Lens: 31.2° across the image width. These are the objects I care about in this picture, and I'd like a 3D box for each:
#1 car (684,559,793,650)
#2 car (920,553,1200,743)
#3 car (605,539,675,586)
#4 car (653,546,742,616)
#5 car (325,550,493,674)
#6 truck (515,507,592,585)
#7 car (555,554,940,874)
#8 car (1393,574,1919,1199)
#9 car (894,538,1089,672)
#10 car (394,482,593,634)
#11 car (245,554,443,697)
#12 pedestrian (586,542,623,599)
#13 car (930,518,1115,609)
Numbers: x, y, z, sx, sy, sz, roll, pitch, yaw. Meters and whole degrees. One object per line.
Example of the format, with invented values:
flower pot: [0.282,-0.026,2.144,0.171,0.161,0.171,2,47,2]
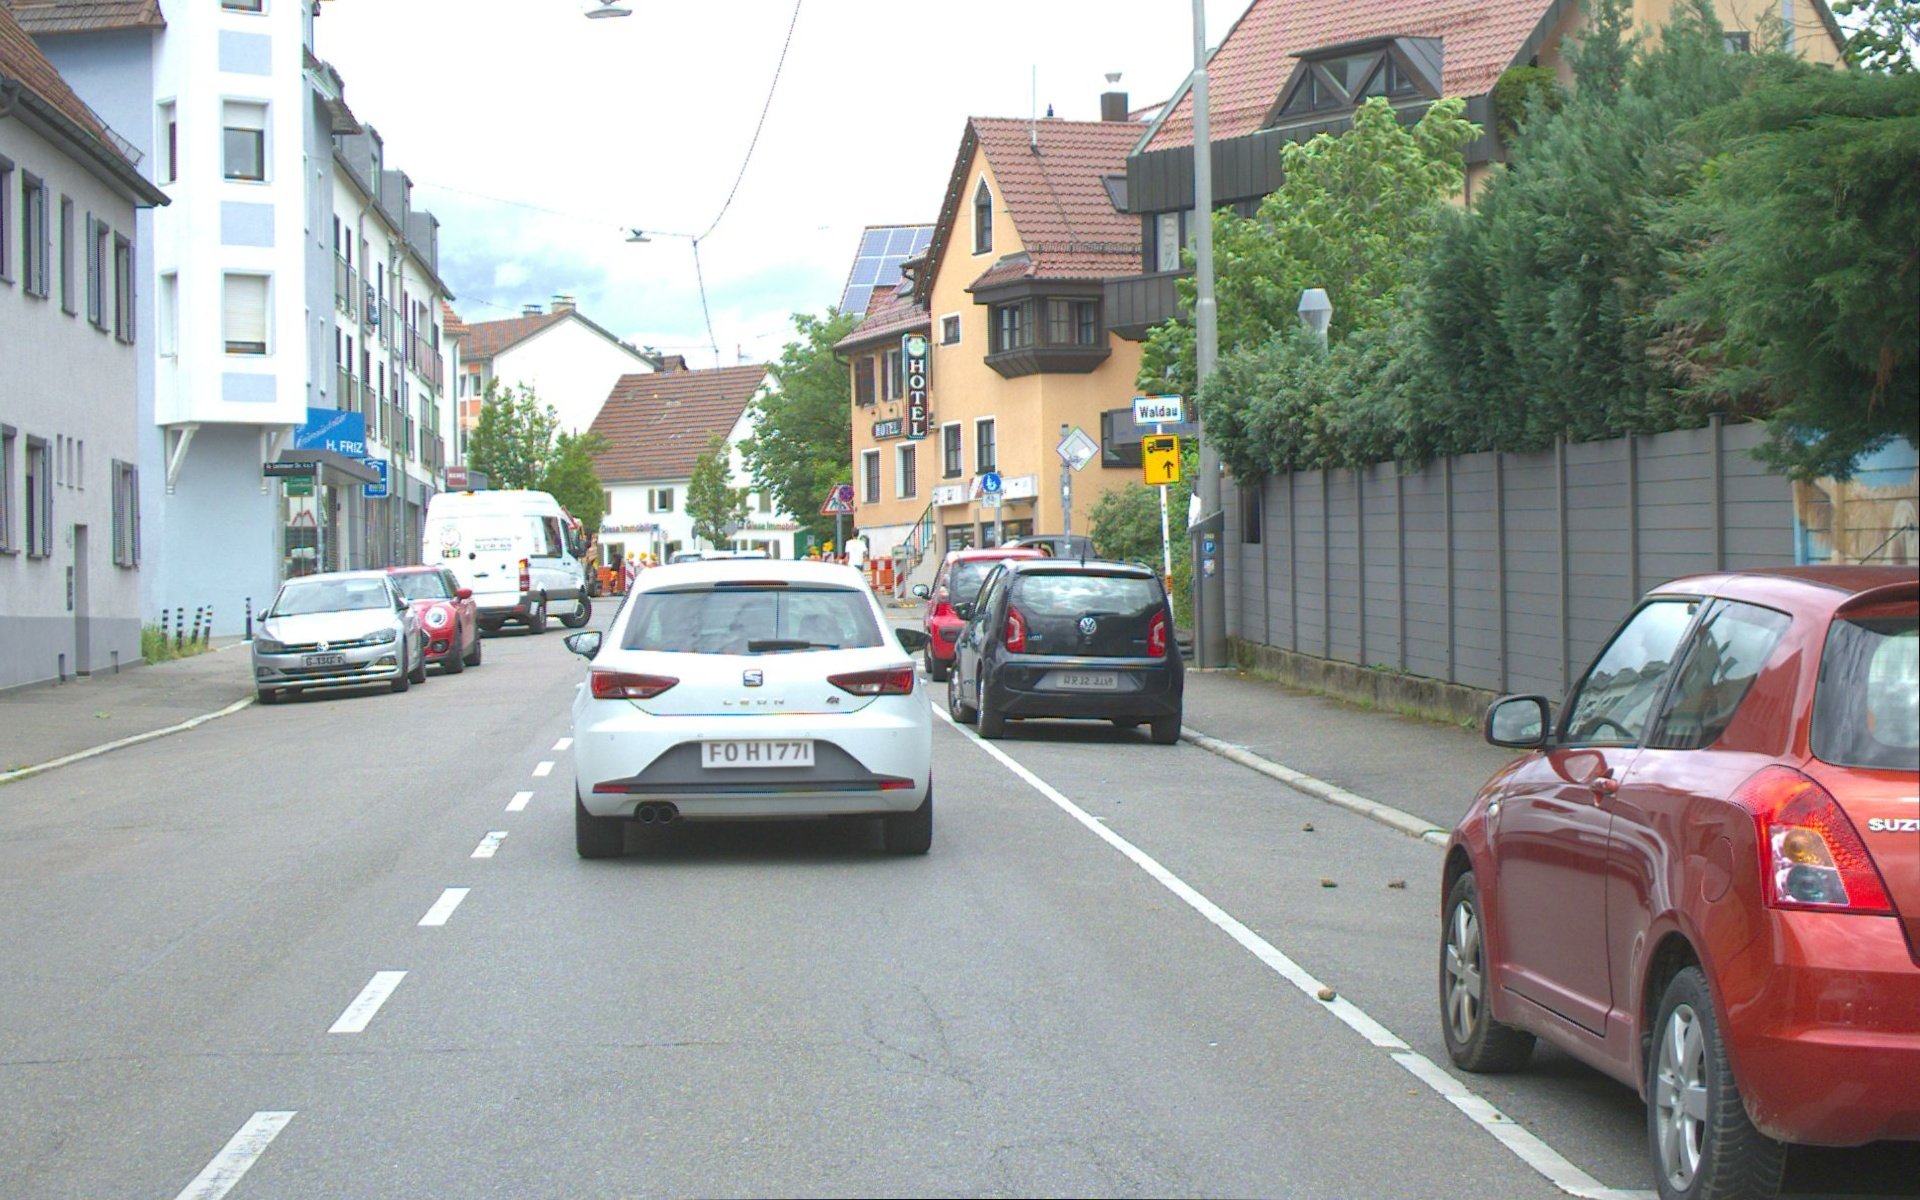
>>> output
car: [-3.761,0.048,58.469,1.758,1.447,4.001,-1,1,-4]
car: [0.759,0.343,28.702,1.758,1.447,4.001,-1,1,-6]
car: [-11.917,-1.424,128.221,1.795,1.696,3.999,0,1,7]
car: [-5.761,-0.436,75.202,1.758,1.447,4.001,-1,1,-7]
car: [-7.385,0.128,46.421,1.799,1.474,4.051,-4,1,-4]
truck: [-13.193,-1.781,111.840,2.152,2.451,5.396,0,1,-3]
car: [-1.102,0.501,17.943,1.758,1.447,4.001,-1,1,-3]
car: [2.373,0.685,9.107,1.758,1.447,4.001,1,1,-3]
car: [0.312,0.024,39.901,1.758,1.447,4.001,-1,1,-6]
car: [-8.567,-0.808,63.653,2.153,2.677,5.543,0,1,9]
car: [-7.230,0.257,40.688,1.799,1.474,4.051,-4,1,-4]
pedestrian: [-12.652,-1.073,122.482,1.228,2.007,1.176,-1,1,-3]
car: [1.055,-0.634,58.996,2.807,1.507,1.709,0,2,-14]
